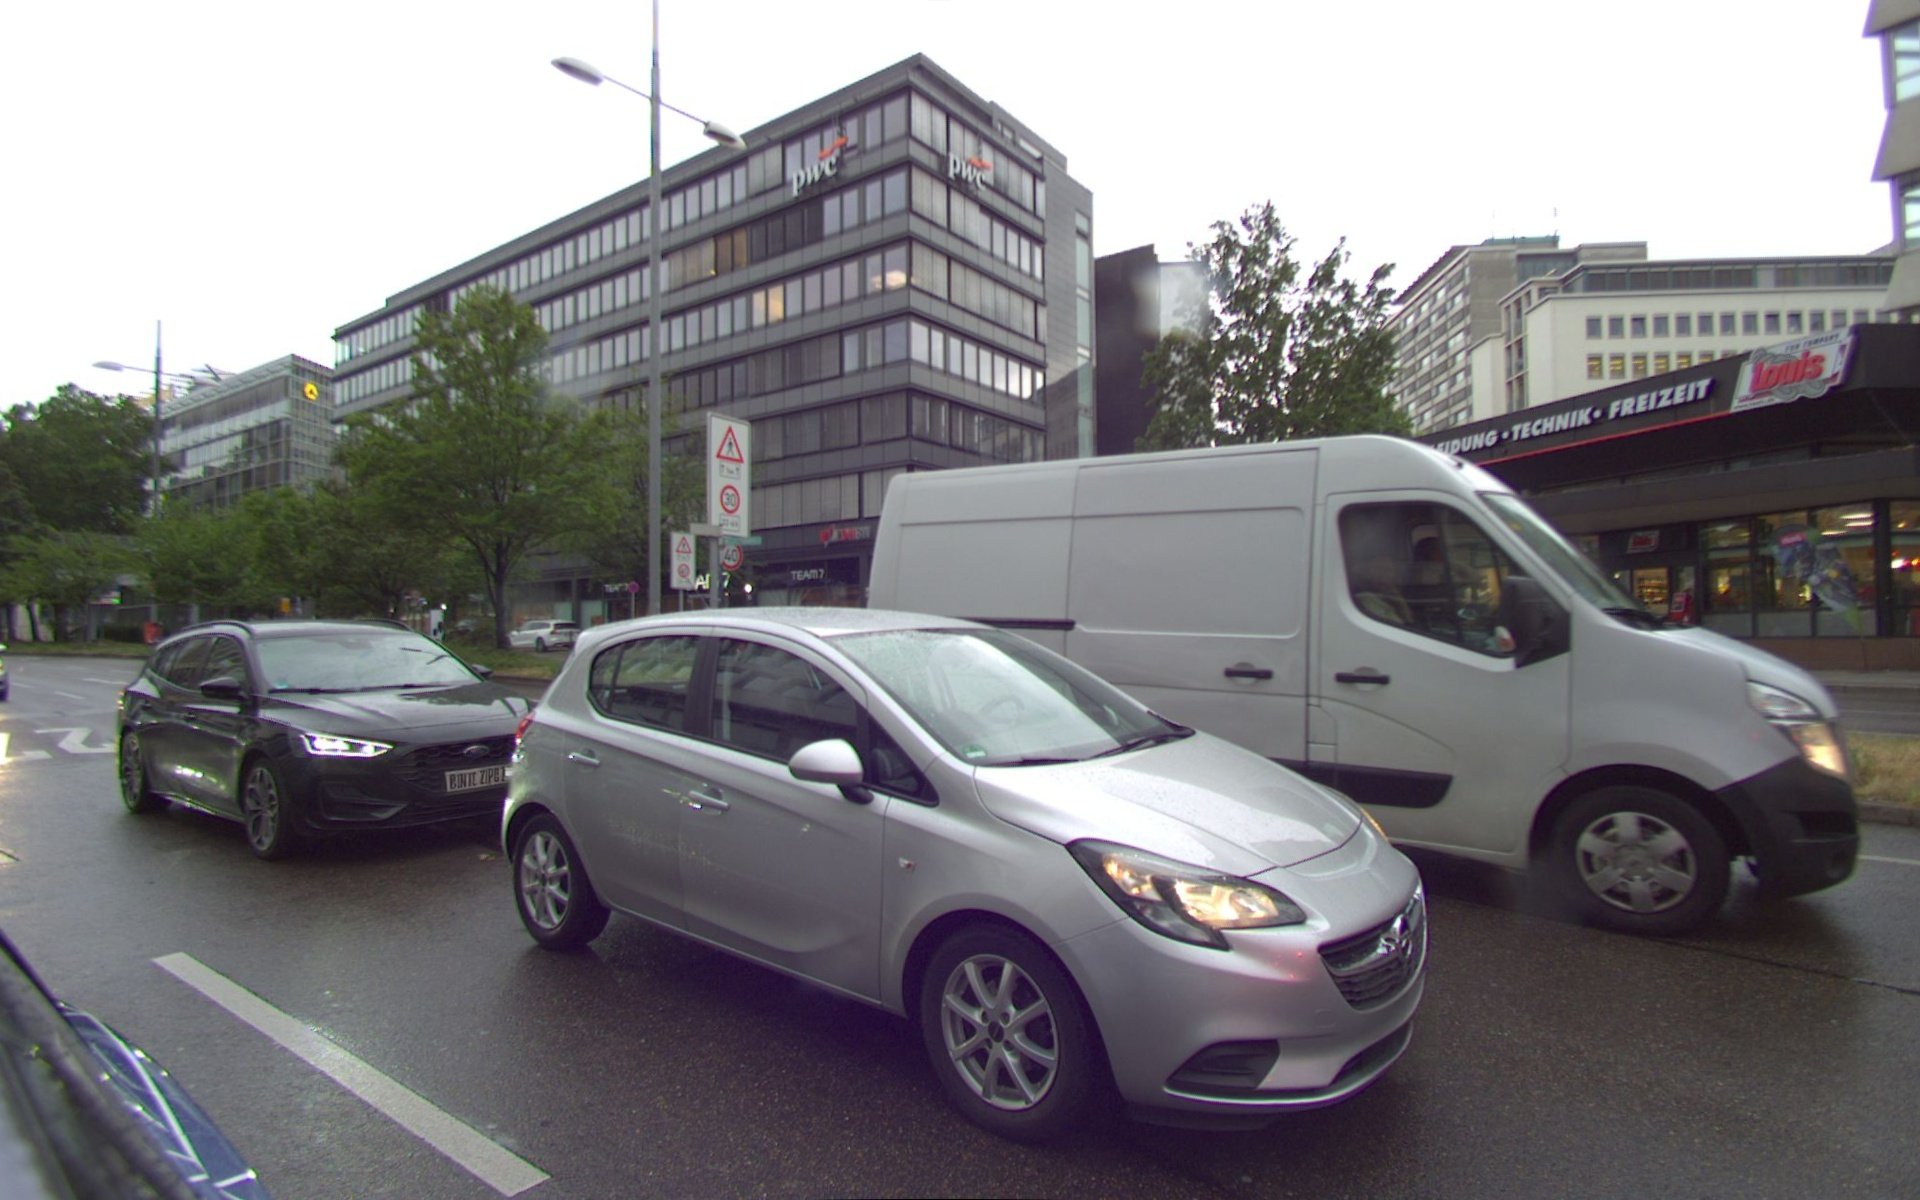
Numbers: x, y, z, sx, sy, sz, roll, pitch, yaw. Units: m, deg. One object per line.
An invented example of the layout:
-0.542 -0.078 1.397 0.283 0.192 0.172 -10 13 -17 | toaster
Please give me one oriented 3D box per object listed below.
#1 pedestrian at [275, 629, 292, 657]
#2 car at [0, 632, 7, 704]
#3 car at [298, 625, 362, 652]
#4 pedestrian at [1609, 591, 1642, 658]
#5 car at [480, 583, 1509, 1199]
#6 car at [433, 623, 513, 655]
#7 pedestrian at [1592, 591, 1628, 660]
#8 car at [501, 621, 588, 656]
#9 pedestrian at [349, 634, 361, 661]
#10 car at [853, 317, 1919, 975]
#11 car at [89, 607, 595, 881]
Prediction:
-49.883 3.146 74.621 0.539 2.029 0.917 -2 -1 39 | pedestrian
-20.642 1.362 20.285 4.091 1.391 1.754 -2 -1 39 | car
-37.942 2.295 60.922 3.992 1.518 1.975 -2 -1 36 | car
17.251 0.633 26.237 0.501 1.731 0.447 -1 -1 -16 | pedestrian
-0.182 0.728 3.997 3.872 1.446 1.631 -2 -1 40 | car
-24.597 1.973 51.110 4.100 1.518 1.975 -2 -1 36 | car
16.546 0.645 25.764 0.516 1.731 0.500 -1 -1 -16 | pedestrian
-19.409 1.791 47.259 3.992 1.518 1.975 -2 -1 36 | car
-46.607 3.669 77.995 0.500 2.029 0.681 -2 -1 38 | pedestrian
2.021 0.232 6.185 5.471 2.459 1.928 -2 -1 37 | car
-4.623 0.823 7.354 4.087 1.446 1.755 -2 -1 37 | car
